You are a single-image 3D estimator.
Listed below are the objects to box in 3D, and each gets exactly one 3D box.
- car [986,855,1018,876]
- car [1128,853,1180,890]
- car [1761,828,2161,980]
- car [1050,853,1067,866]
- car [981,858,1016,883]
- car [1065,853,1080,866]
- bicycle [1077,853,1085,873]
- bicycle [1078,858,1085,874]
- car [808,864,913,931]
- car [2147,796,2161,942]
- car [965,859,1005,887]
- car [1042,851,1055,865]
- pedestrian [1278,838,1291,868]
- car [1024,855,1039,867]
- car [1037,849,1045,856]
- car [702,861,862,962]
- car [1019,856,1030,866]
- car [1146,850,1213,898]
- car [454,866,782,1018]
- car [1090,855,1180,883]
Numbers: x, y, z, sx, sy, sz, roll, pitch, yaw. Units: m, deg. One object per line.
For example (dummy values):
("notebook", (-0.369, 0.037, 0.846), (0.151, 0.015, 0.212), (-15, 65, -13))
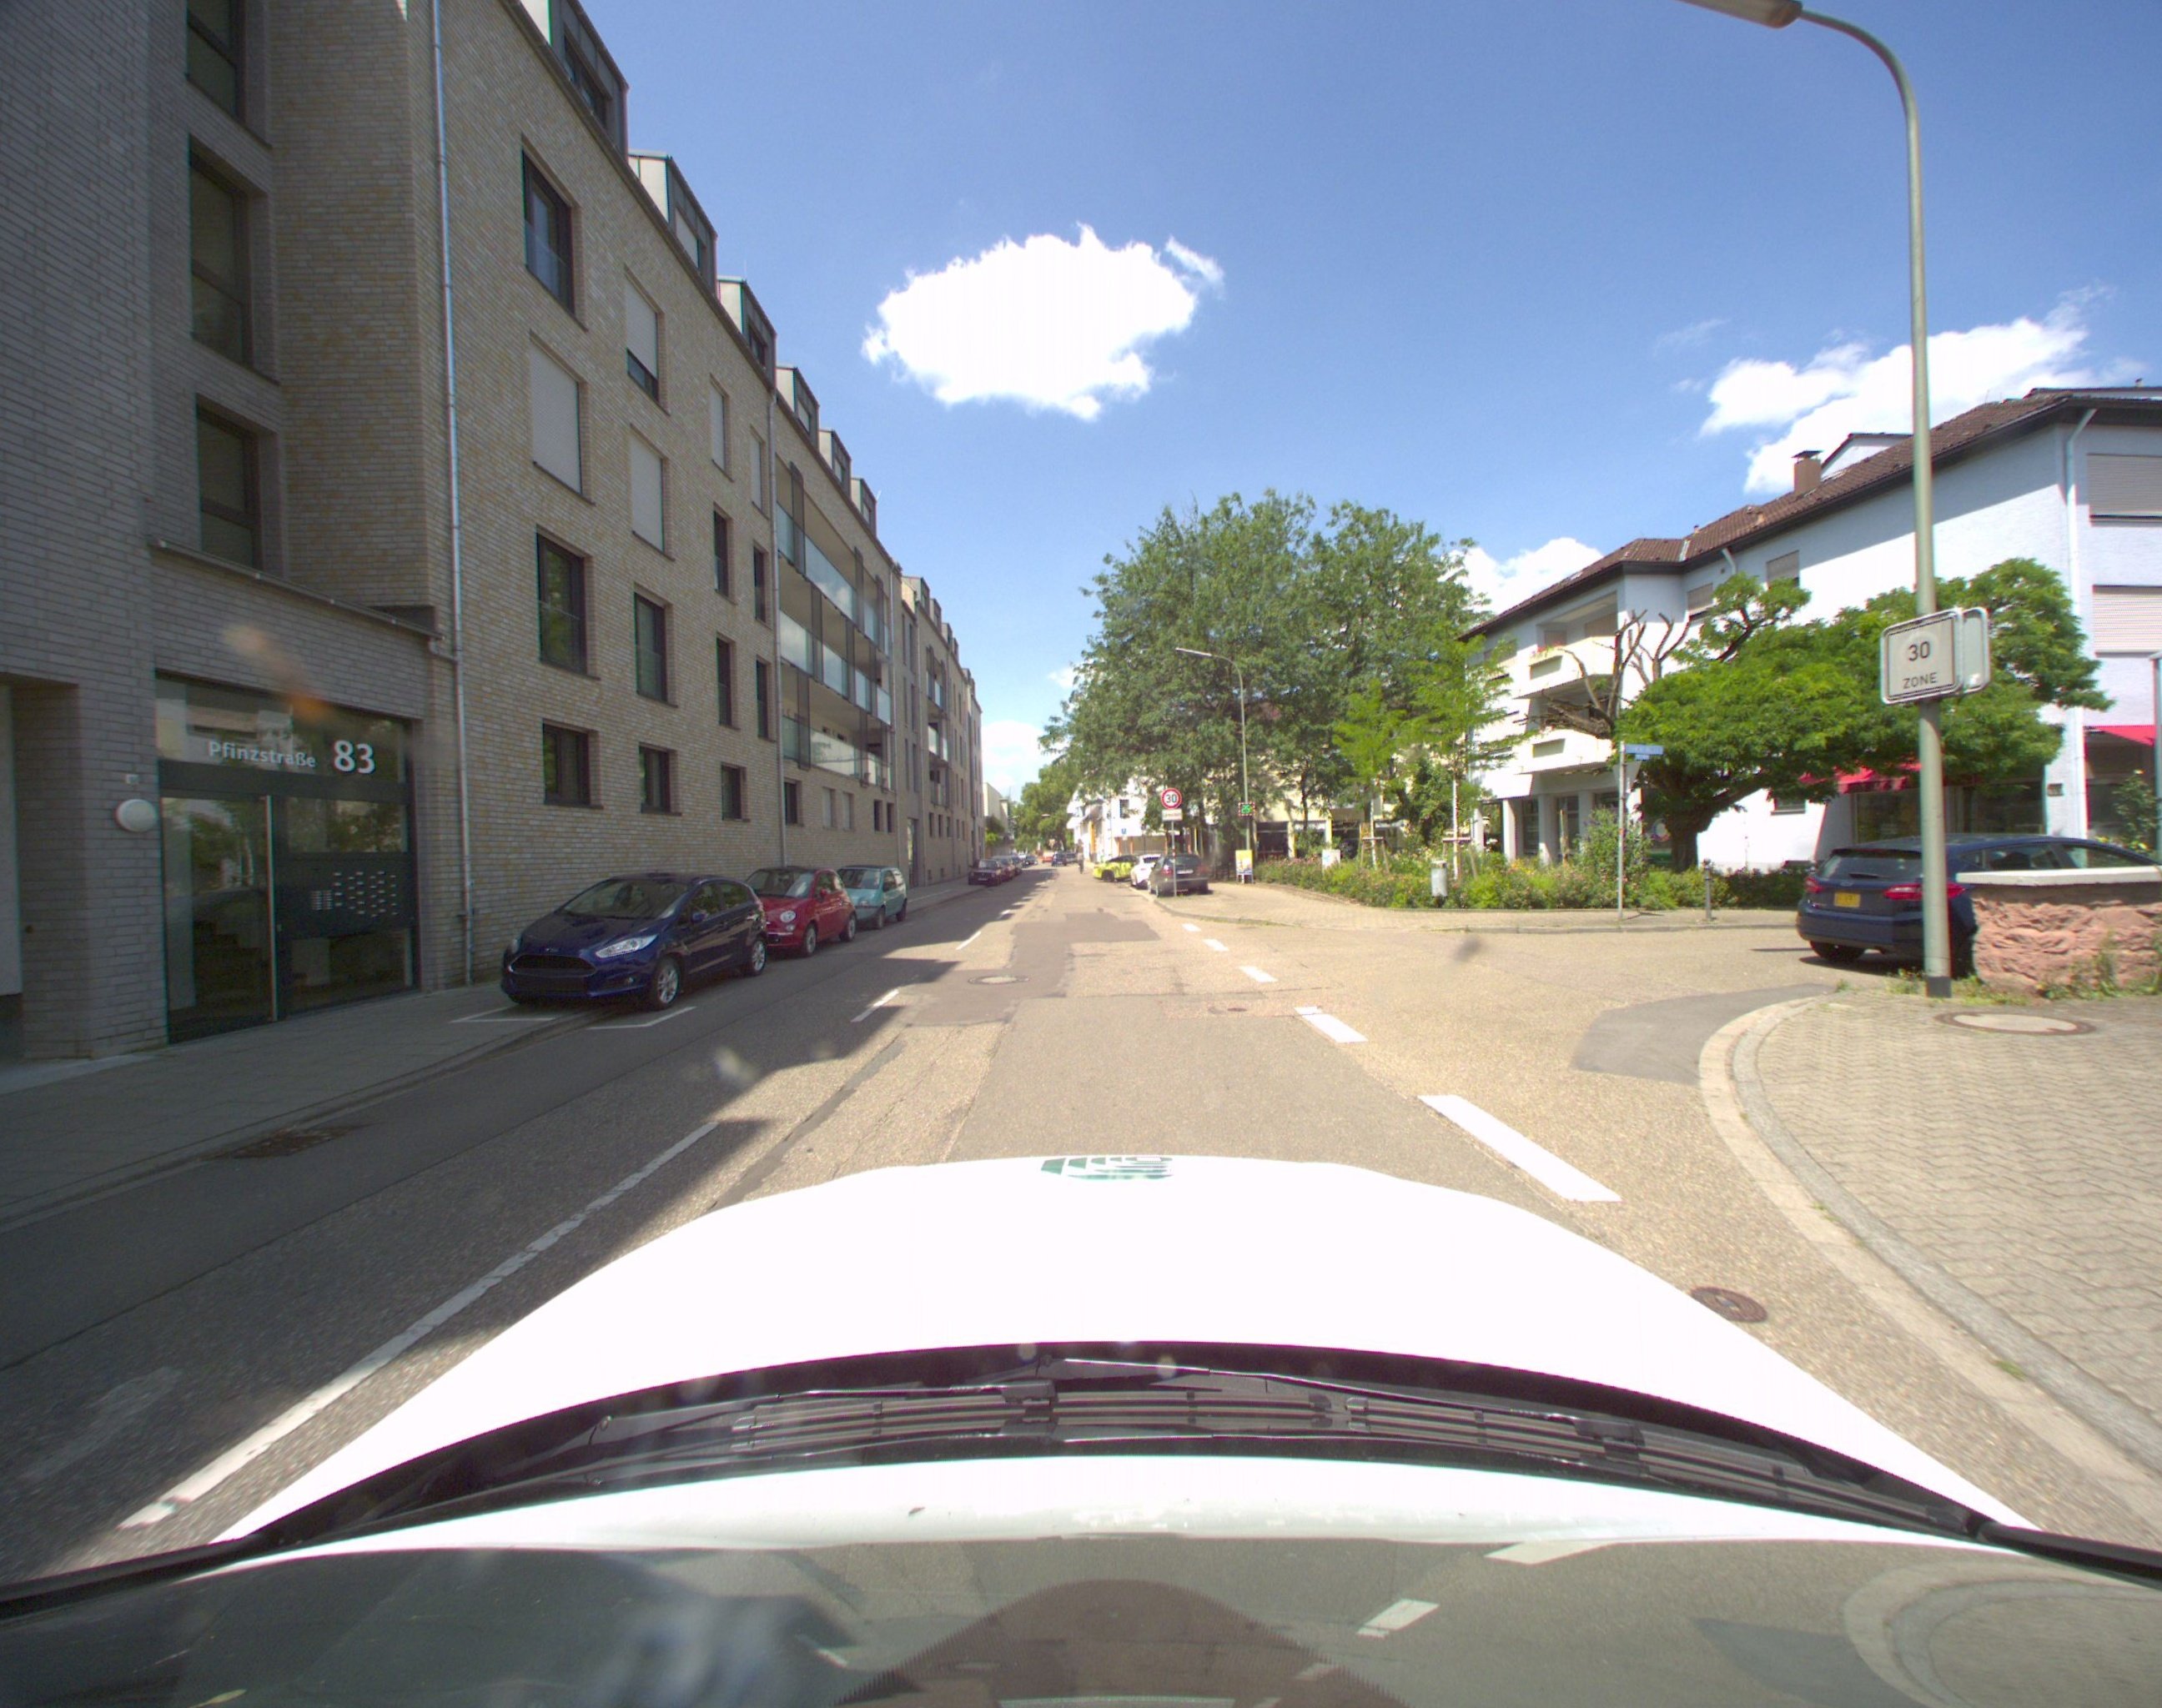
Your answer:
("car", (-5.522, 0.796, 57.429), (1.820, 1.420, 4.000), (0, 0, 1))
("car", (3.051, 0.718, 34.690), (1.774, 1.420, 3.998), (-2, 0, -1))
("car", (9.914, 0.479, 8.871), (3.587, 1.449, 1.741), (-1, 0, -1))
("car", (-2.601, 0.575, 95.244), (1.710, 1.402, 4.000), (-2, 0, 0))
("car", (-5.076, 0.978, 50.262), (1.727, 1.442, 3.999), (-2, 0, 0))
("car", (-1.183, 0.756, 110.676), (1.988, 1.618, 3.997), (-1, 0, -2))
("bicycle", (-0.005, 0.642, 60.885), (0.476, 1.490, 0.576), (-2, 0, -1))
("bicycle", (0.006, 0.892, 60.856), (0.481, 1.114, 1.195), (-2, 0, -1))
("car", (-5.318, 0.993, 20.045), (1.586, 1.456, 3.702), (0, 0, 0))
("car", (9.628, 0.208, 4.749), (4.250, 1.530, 1.743), (-4, -2, 3))
("car", (-5.274, 1.014, 45.249), (1.727, 1.442, 3.999), (-2, 0, 0))
("car", (-5.006, 0.619, 126.152), (1.834, 2.013, 3.998), (-2, 0, -1))
("pedestrian", (12.892, -0.053, 51.499), (0.589, 1.859, 0.607), (-2, 0, 29))
("car", (-7.127, 0.957, 116.636), (1.988, 1.519, 3.997), (-2, 0, -2))
("car", (-11.726, -0.344, 236.714), (2.152, 2.013, 3.995), (-2, 0, -3))
("car", (-5.314, 0.943, 14.941), (1.586, 1.554, 3.570), (-1, 0, 0))
("car", (-12.039, 1.514, 174.187), (1.988, 2.013, 3.998), (-2, 0, -1))
("car", (3.303, 0.646, 28.037), (1.687, 1.420, 3.998), (-4, 0, -1))
("car", (-5.386, 0.913, 10.175), (1.717, 1.456, 4.006), (0, 0, 1))
("car", (2.879, 0.762, 43.223), (4.341, 1.381, 2.010), (0, 0, 20))
